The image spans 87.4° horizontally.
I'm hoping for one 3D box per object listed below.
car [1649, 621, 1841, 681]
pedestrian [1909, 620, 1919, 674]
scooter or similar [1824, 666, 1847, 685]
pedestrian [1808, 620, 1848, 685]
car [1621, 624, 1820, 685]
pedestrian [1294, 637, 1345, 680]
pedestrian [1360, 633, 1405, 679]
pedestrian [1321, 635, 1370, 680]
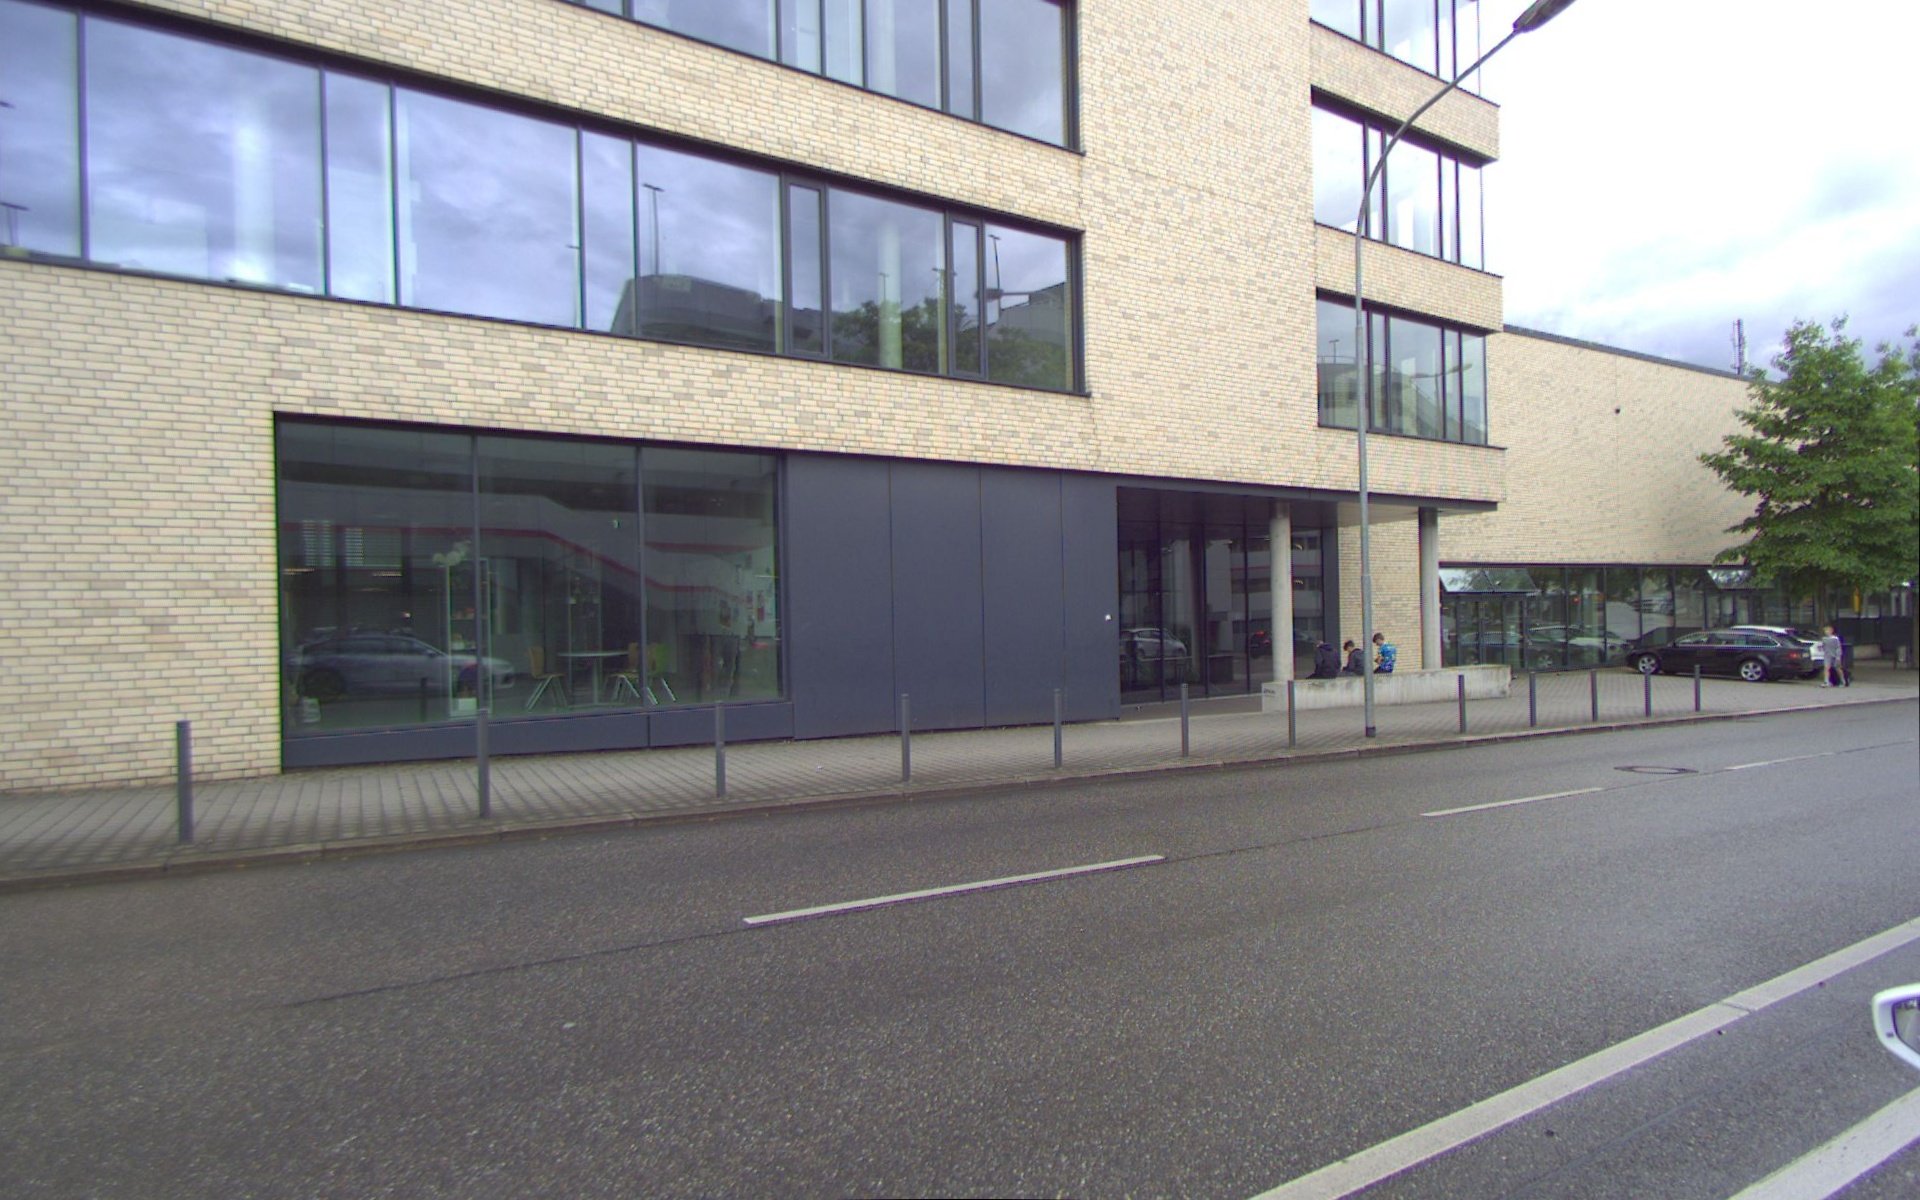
[{"bbox_3d":[24.510,1.531,31.513,1.980,1.595,4.387,-1,1,-35],"label":"car"},{"bbox_3d":[31.689,1.555,32.864,0.746,1.748,0.685,4,-1,-31],"label":"pedestrian"},{"bbox_3d":[24.066,2.075,27.611,0.609,0.507,0.278,2,0,-31],"label":"scooter or similar"},{"bbox_3d":[23.719,1.424,27.444,0.473,1.720,0.672,1,0,-30],"label":"pedestrian"},{"bbox_3d":[22.809,1.557,30.285,1.980,1.608,4.438,1,0,-35],"label":"car"},{"bbox_3d":[7.044,1.144,19.680,0.751,0.796,0.595,2,0,-30],"label":"pedestrian"},{"bbox_3d":[8.777,1.153,20.857,0.519,0.897,0.677,2,0,-33],"label":"pedestrian"},{"bbox_3d":[7.721,1.144,20.113,0.719,0.856,0.583,2,-1,-30],"label":"pedestrian"}]
